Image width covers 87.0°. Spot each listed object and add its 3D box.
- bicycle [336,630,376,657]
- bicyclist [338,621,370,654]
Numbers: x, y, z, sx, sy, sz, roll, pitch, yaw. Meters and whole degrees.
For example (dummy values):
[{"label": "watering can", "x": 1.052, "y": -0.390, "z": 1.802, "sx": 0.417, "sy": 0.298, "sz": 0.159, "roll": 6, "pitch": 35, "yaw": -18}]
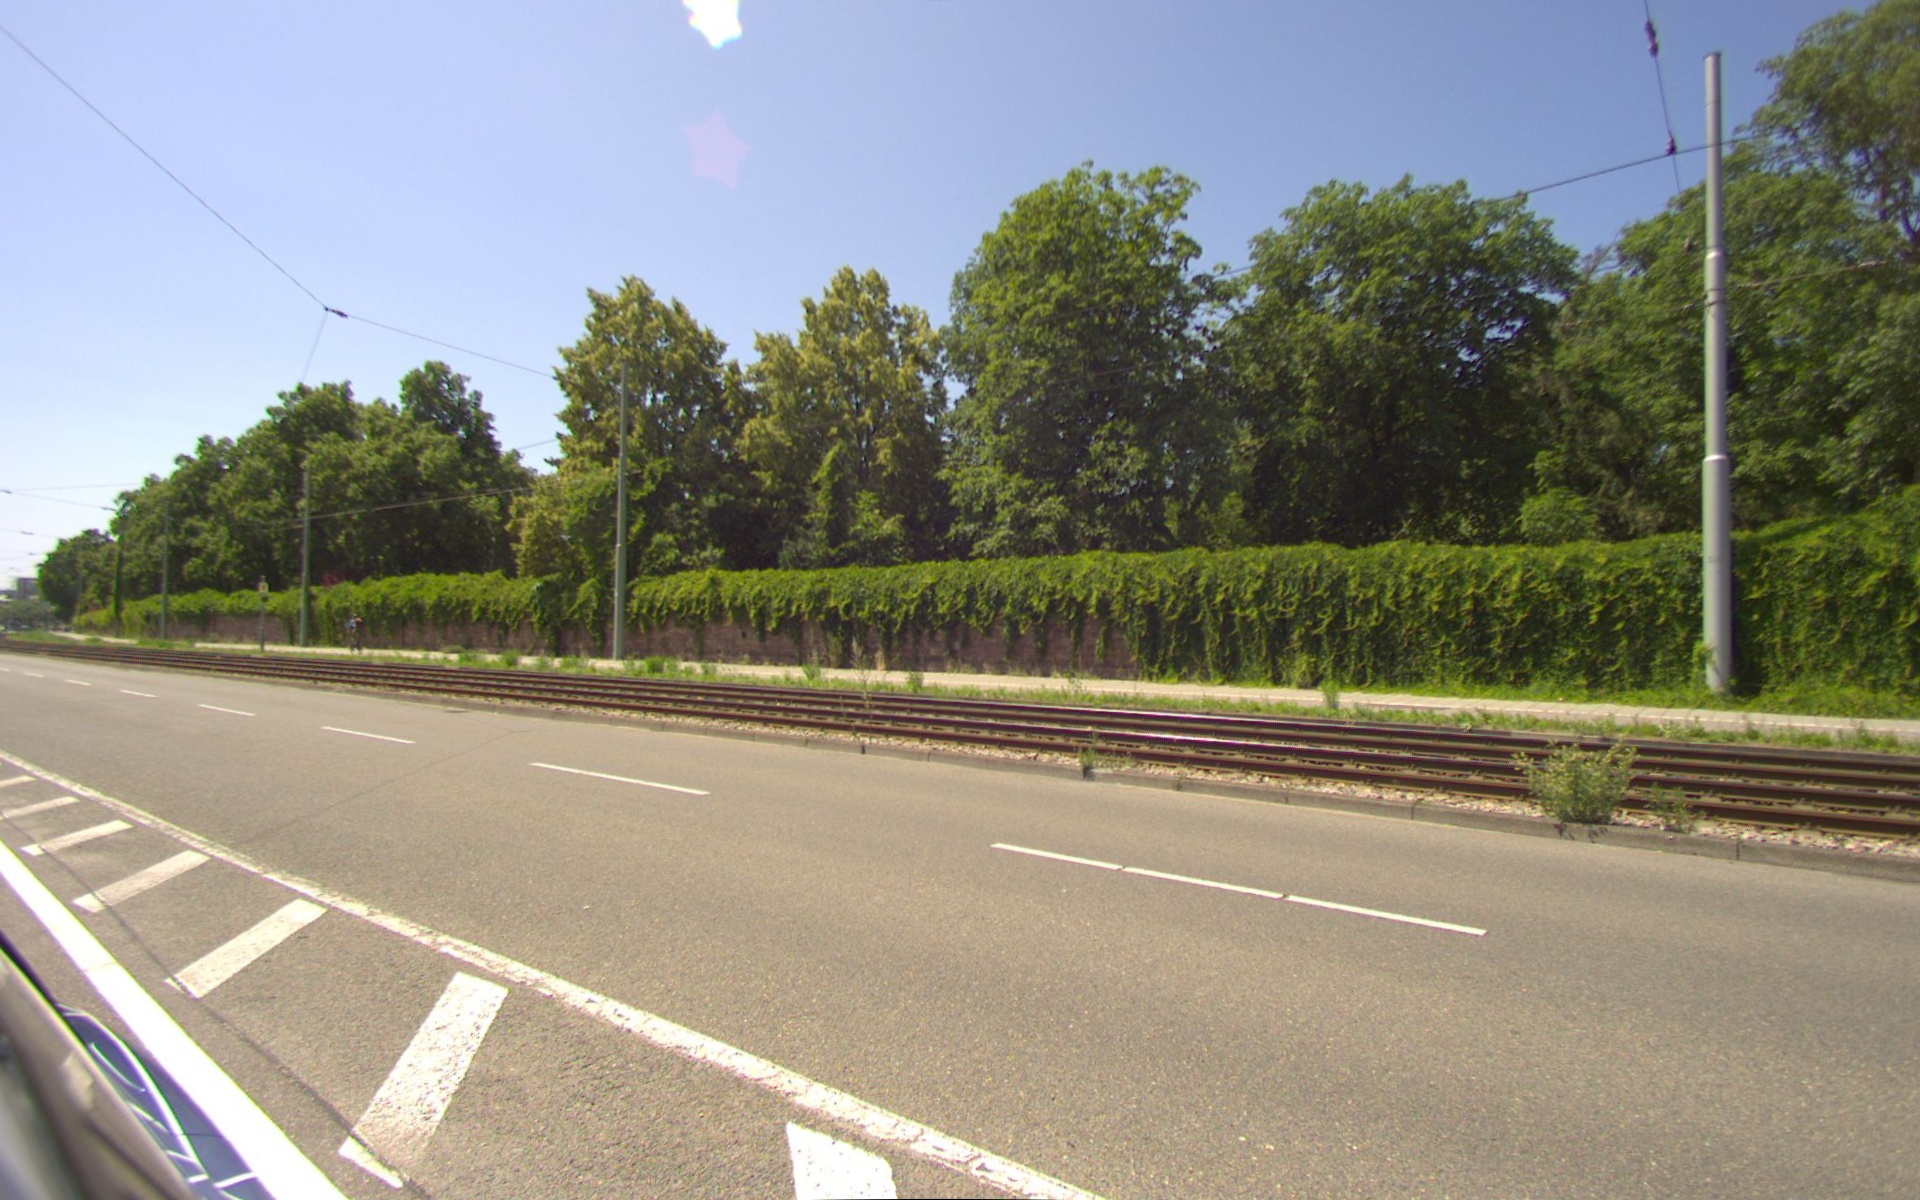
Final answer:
[{"label": "bicycle", "x": -27.077, "y": 1.942, "z": 45.323, "sx": 2.685, "sy": 1.165, "sz": 0.819, "roll": -2, "pitch": -2, "yaw": 43}, {"label": "bicyclist", "x": -27.221, "y": 1.678, "z": 45.435, "sx": 1.000, "sy": 1.497, "sz": 0.984, "roll": -2, "pitch": -2, "yaw": 43}]
